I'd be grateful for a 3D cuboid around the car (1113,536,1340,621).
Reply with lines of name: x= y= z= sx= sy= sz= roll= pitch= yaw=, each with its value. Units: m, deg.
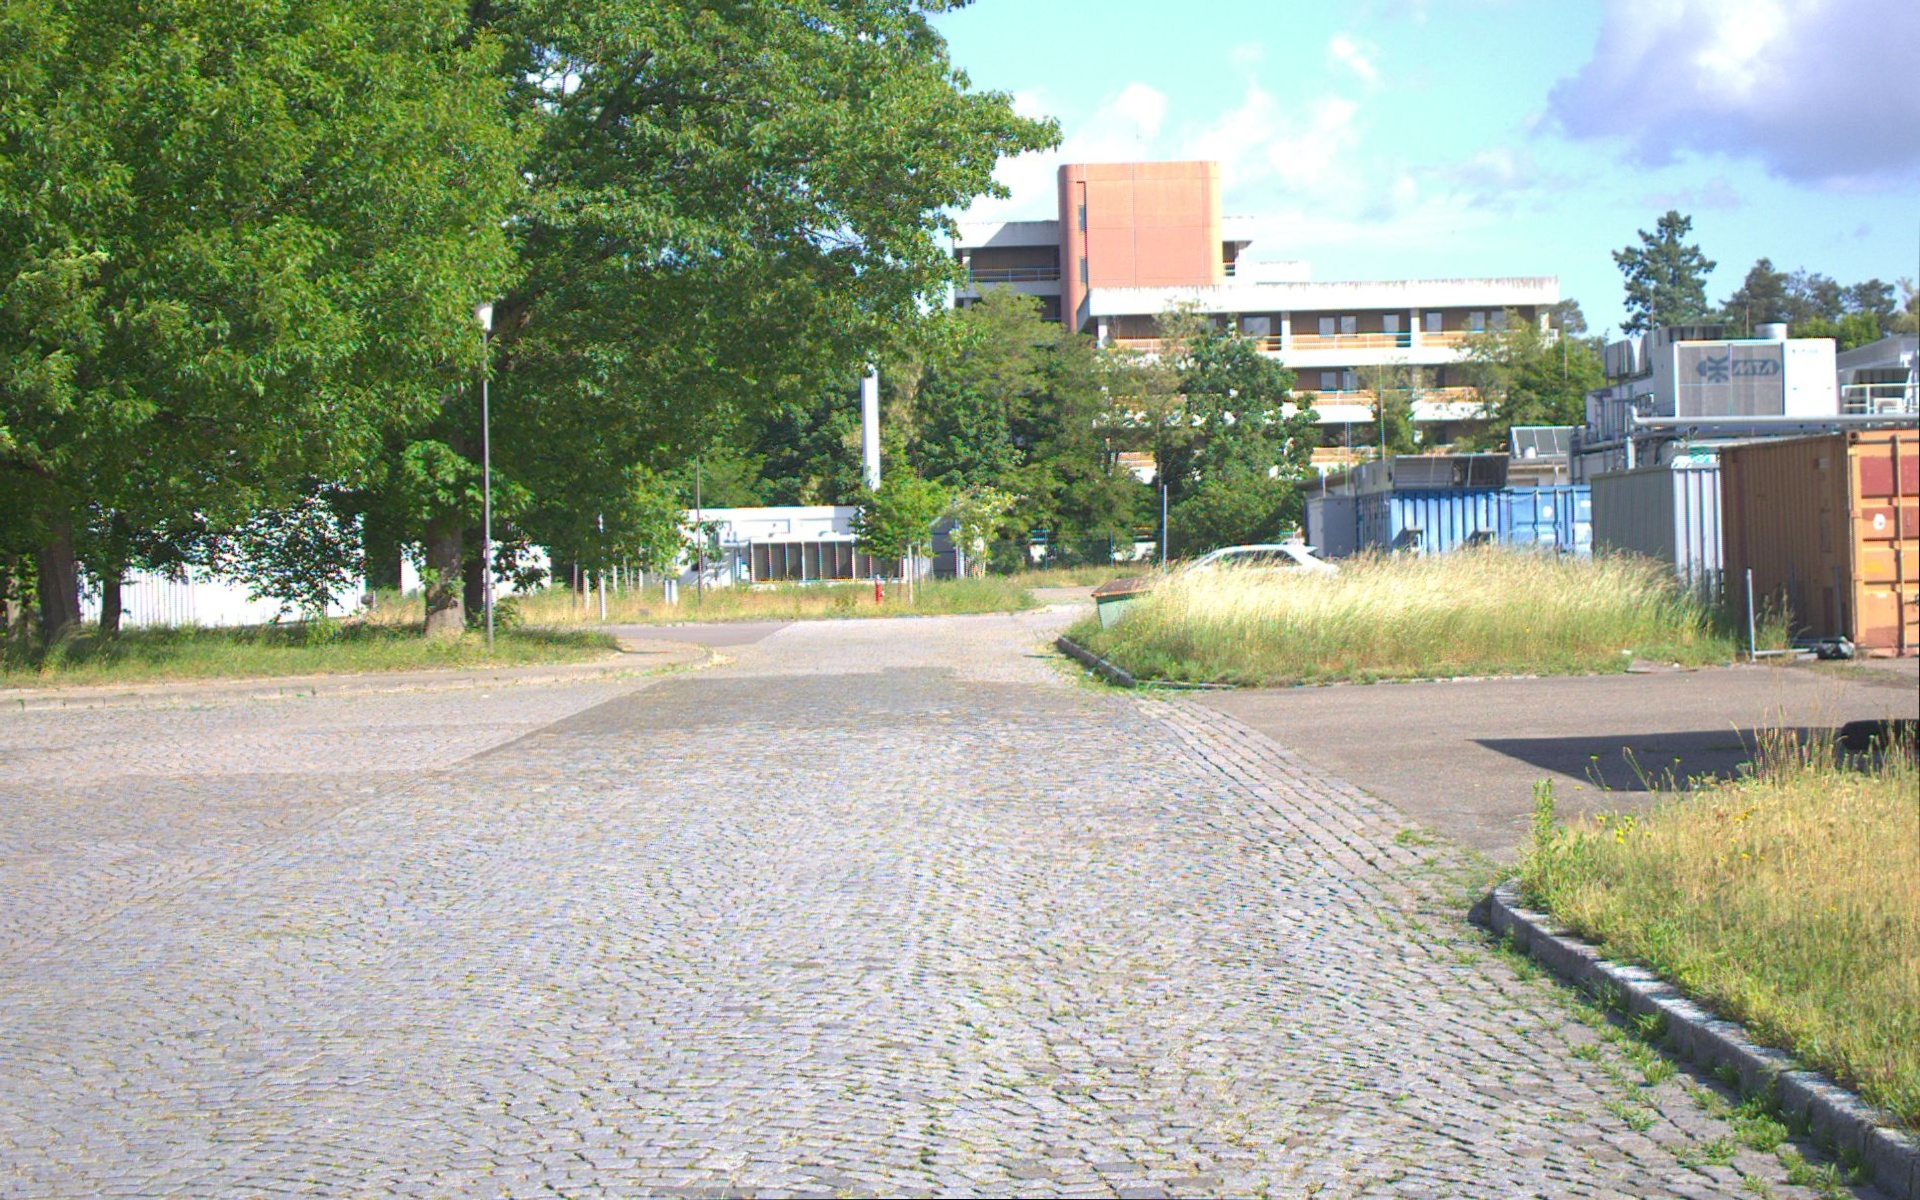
car: x=5.538 y=-0.453 z=71.929 sx=4.504 sy=1.642 sz=2.000 roll=-2 pitch=1 yaw=-2
